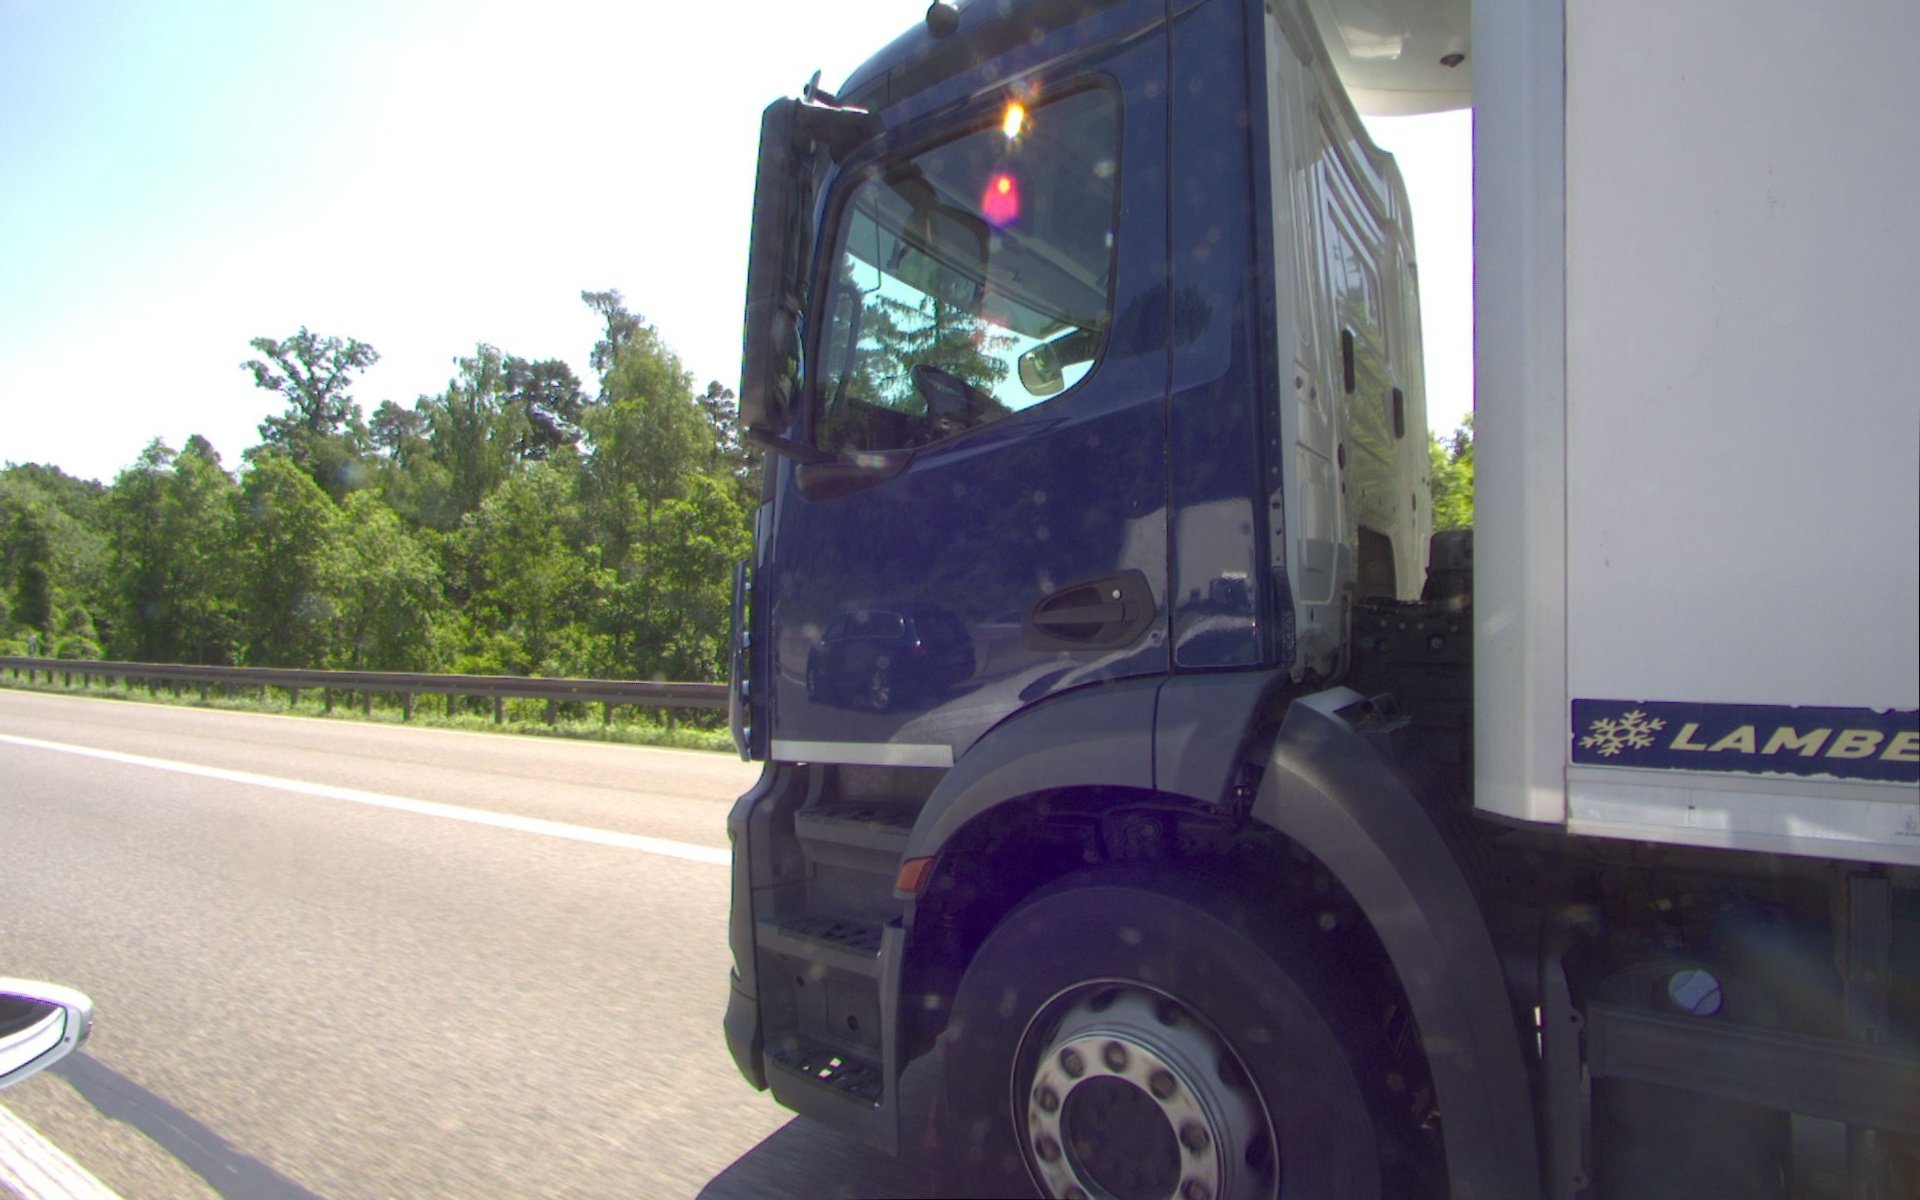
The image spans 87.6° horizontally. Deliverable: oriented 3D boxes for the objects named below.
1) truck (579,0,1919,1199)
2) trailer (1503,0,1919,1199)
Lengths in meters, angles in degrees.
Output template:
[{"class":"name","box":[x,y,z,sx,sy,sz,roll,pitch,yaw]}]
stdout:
[{"class":"truck","box":[1.441,0.035,2.454,4.048,2.978,2.549,-2,-1,34]},{"class":"trailer","box":[4.686,-0.066,0.366,7.769,2.936,2.551,-1,-1,32]}]
